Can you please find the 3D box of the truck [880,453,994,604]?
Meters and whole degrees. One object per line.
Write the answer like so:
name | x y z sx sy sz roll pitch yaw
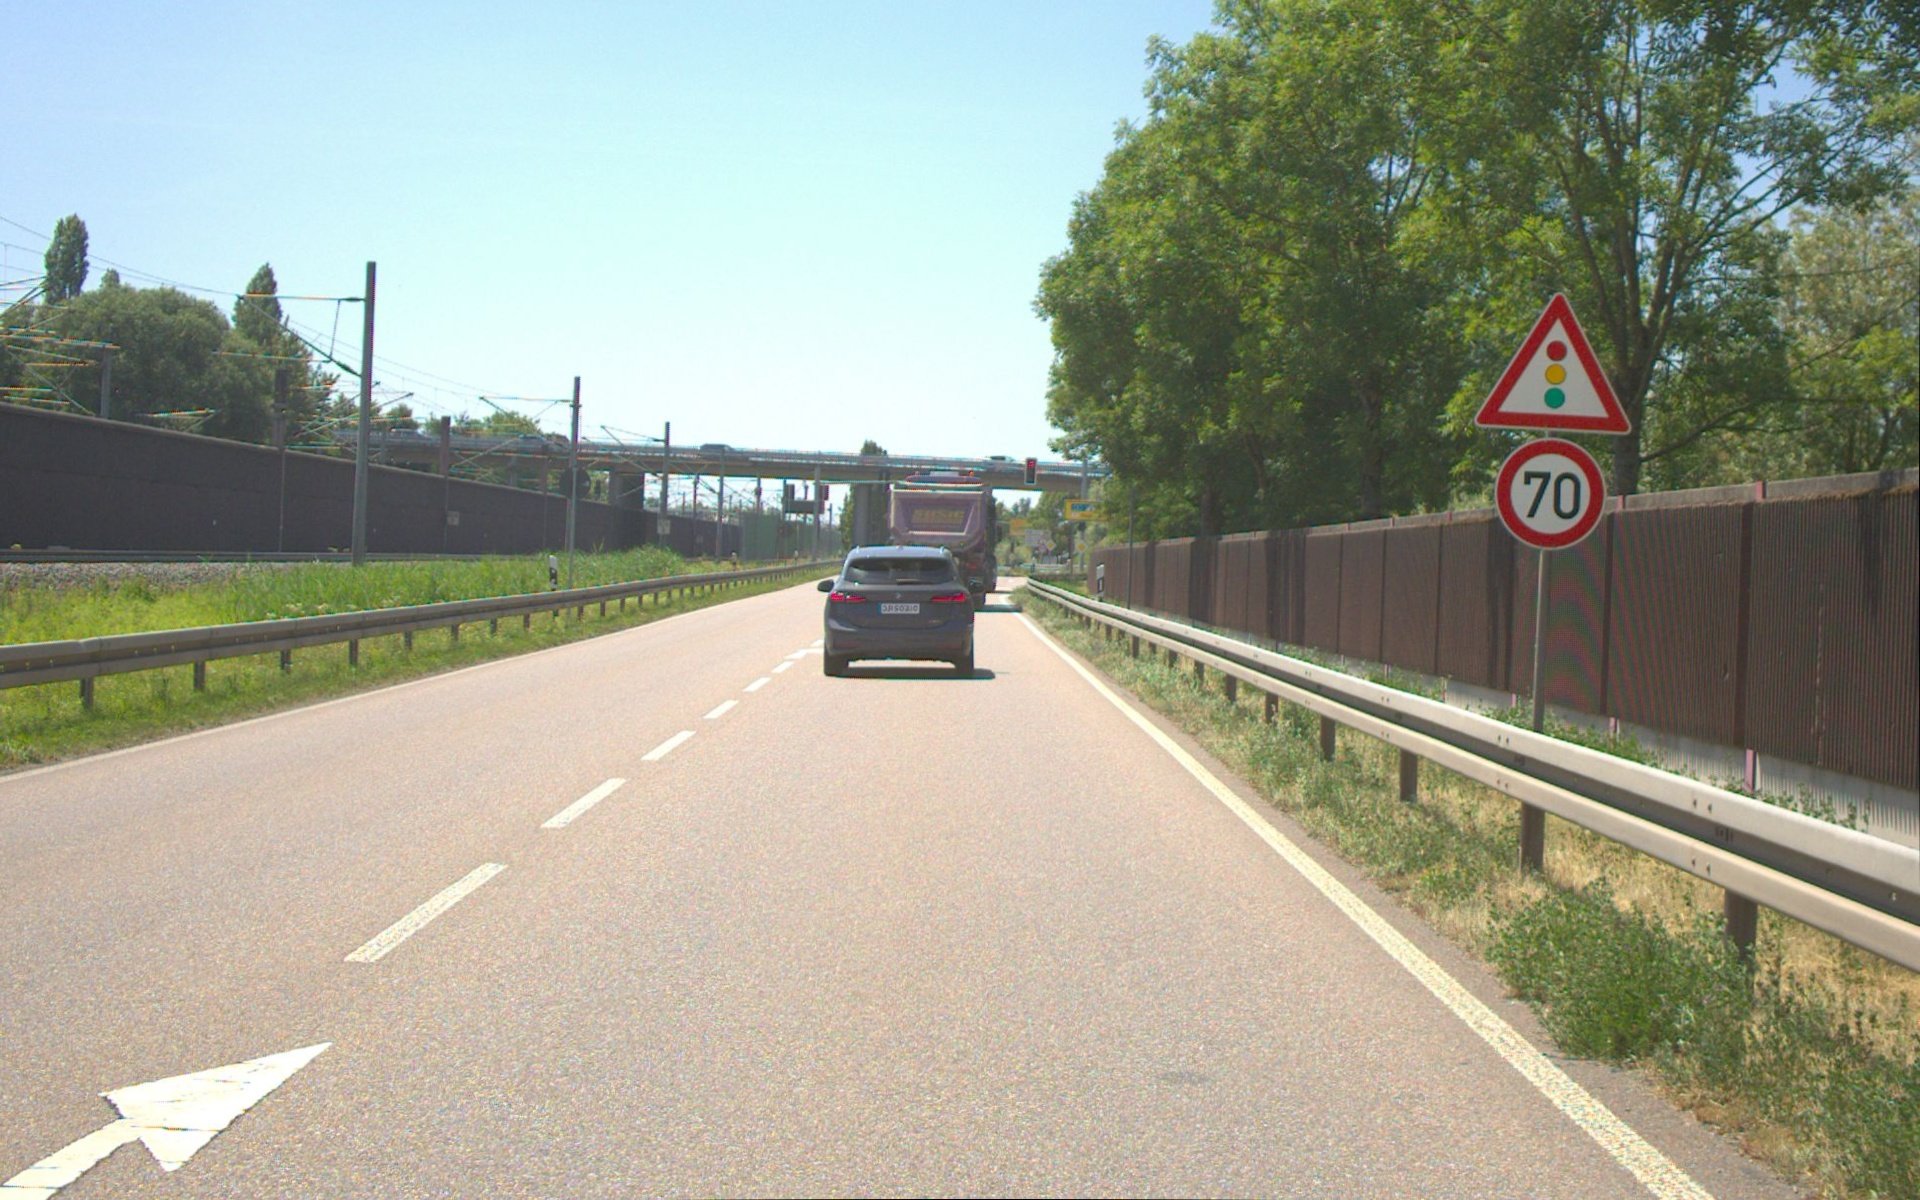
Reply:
truck | -0.664 -1.926 94.283 2.833 3.808 11.886 1 1 -1

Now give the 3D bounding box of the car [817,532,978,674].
car | -0.722 0.005 42.342 1.844 1.617 4.226 1 1 0
